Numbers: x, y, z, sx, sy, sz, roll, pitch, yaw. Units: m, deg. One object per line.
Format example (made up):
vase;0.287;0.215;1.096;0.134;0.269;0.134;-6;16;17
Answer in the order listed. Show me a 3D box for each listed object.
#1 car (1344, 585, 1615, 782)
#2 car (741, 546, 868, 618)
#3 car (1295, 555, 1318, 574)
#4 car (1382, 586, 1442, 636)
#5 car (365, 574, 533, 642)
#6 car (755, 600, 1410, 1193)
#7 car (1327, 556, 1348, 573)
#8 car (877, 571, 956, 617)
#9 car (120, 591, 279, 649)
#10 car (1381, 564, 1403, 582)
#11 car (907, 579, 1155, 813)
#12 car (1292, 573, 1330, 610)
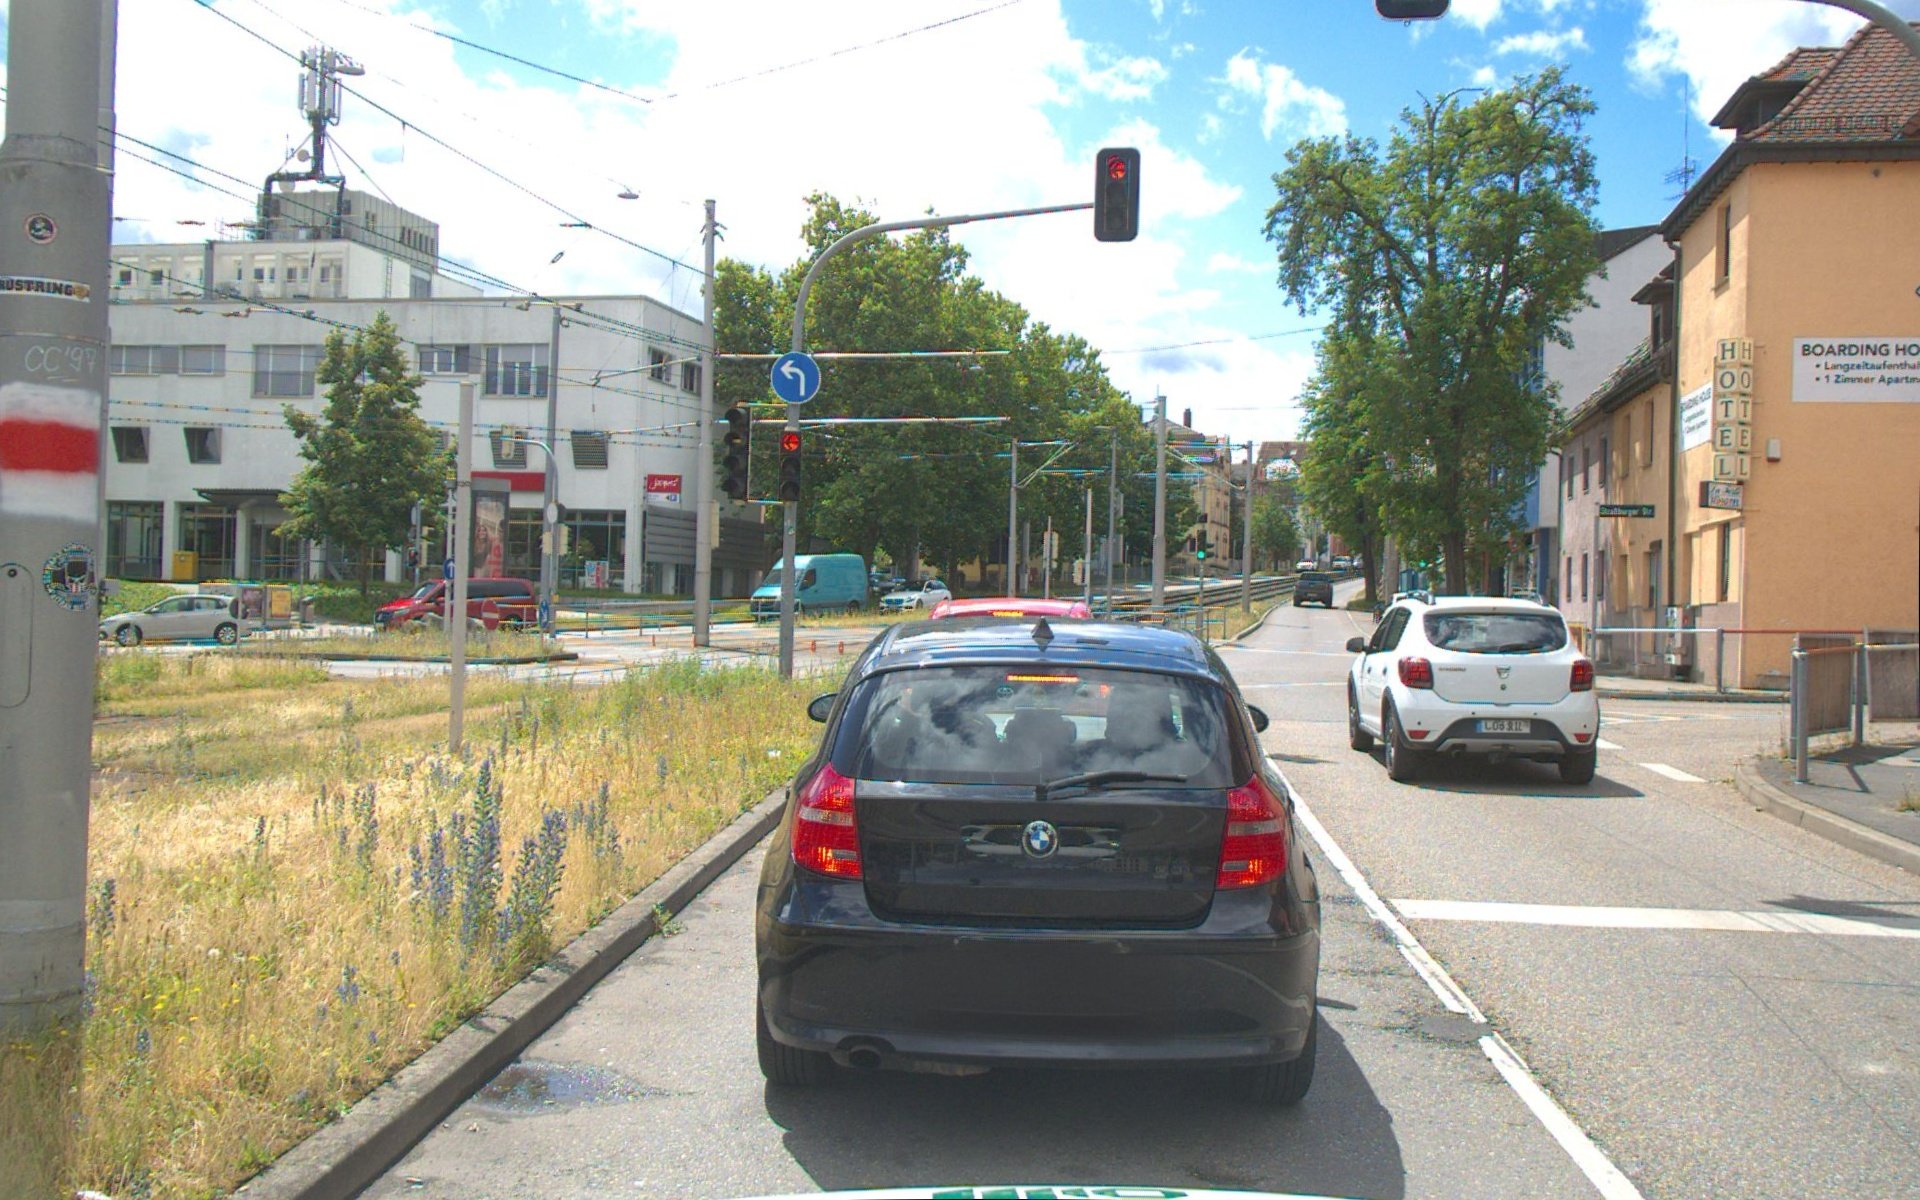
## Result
car;4.619;0.672;15.223;1.678;1.577;3.796;0;0;6
car;-6.092;-0.653;65.460;2.091;2.701;5.678;-1;-1;31
car;39.430;-4.034;188.396;1.952;2.049;4.000;-1;-1;21
car;15.368;0.381;56.342;1.749;1.624;4.003;0;-1;12
car;-16.001;0.255;51.924;4.761;2.044;1.828;0;-1;-45
car;0.218;0.764;6.200;1.667;1.477;3.997;0;-1;-3
car;47.434;-4.451;207.822;1.952;2.049;4.000;-1;-1;21
car;-1.867;-0.236;73.024;1.814;1.962;4.798;-1;-1;21
car;-21.980;0.580;47.912;4.104;1.613;1.843;0;-1;-26
car;43.268;-2.674;165.607;1.951;1.691;4.002;-1;-1;17
car;0.643;0.642;12.660;1.590;1.499;4.002;0;-1;6
car;19.055;-0.422;89.831;1.956;1.920;5.154;0;-1;12
